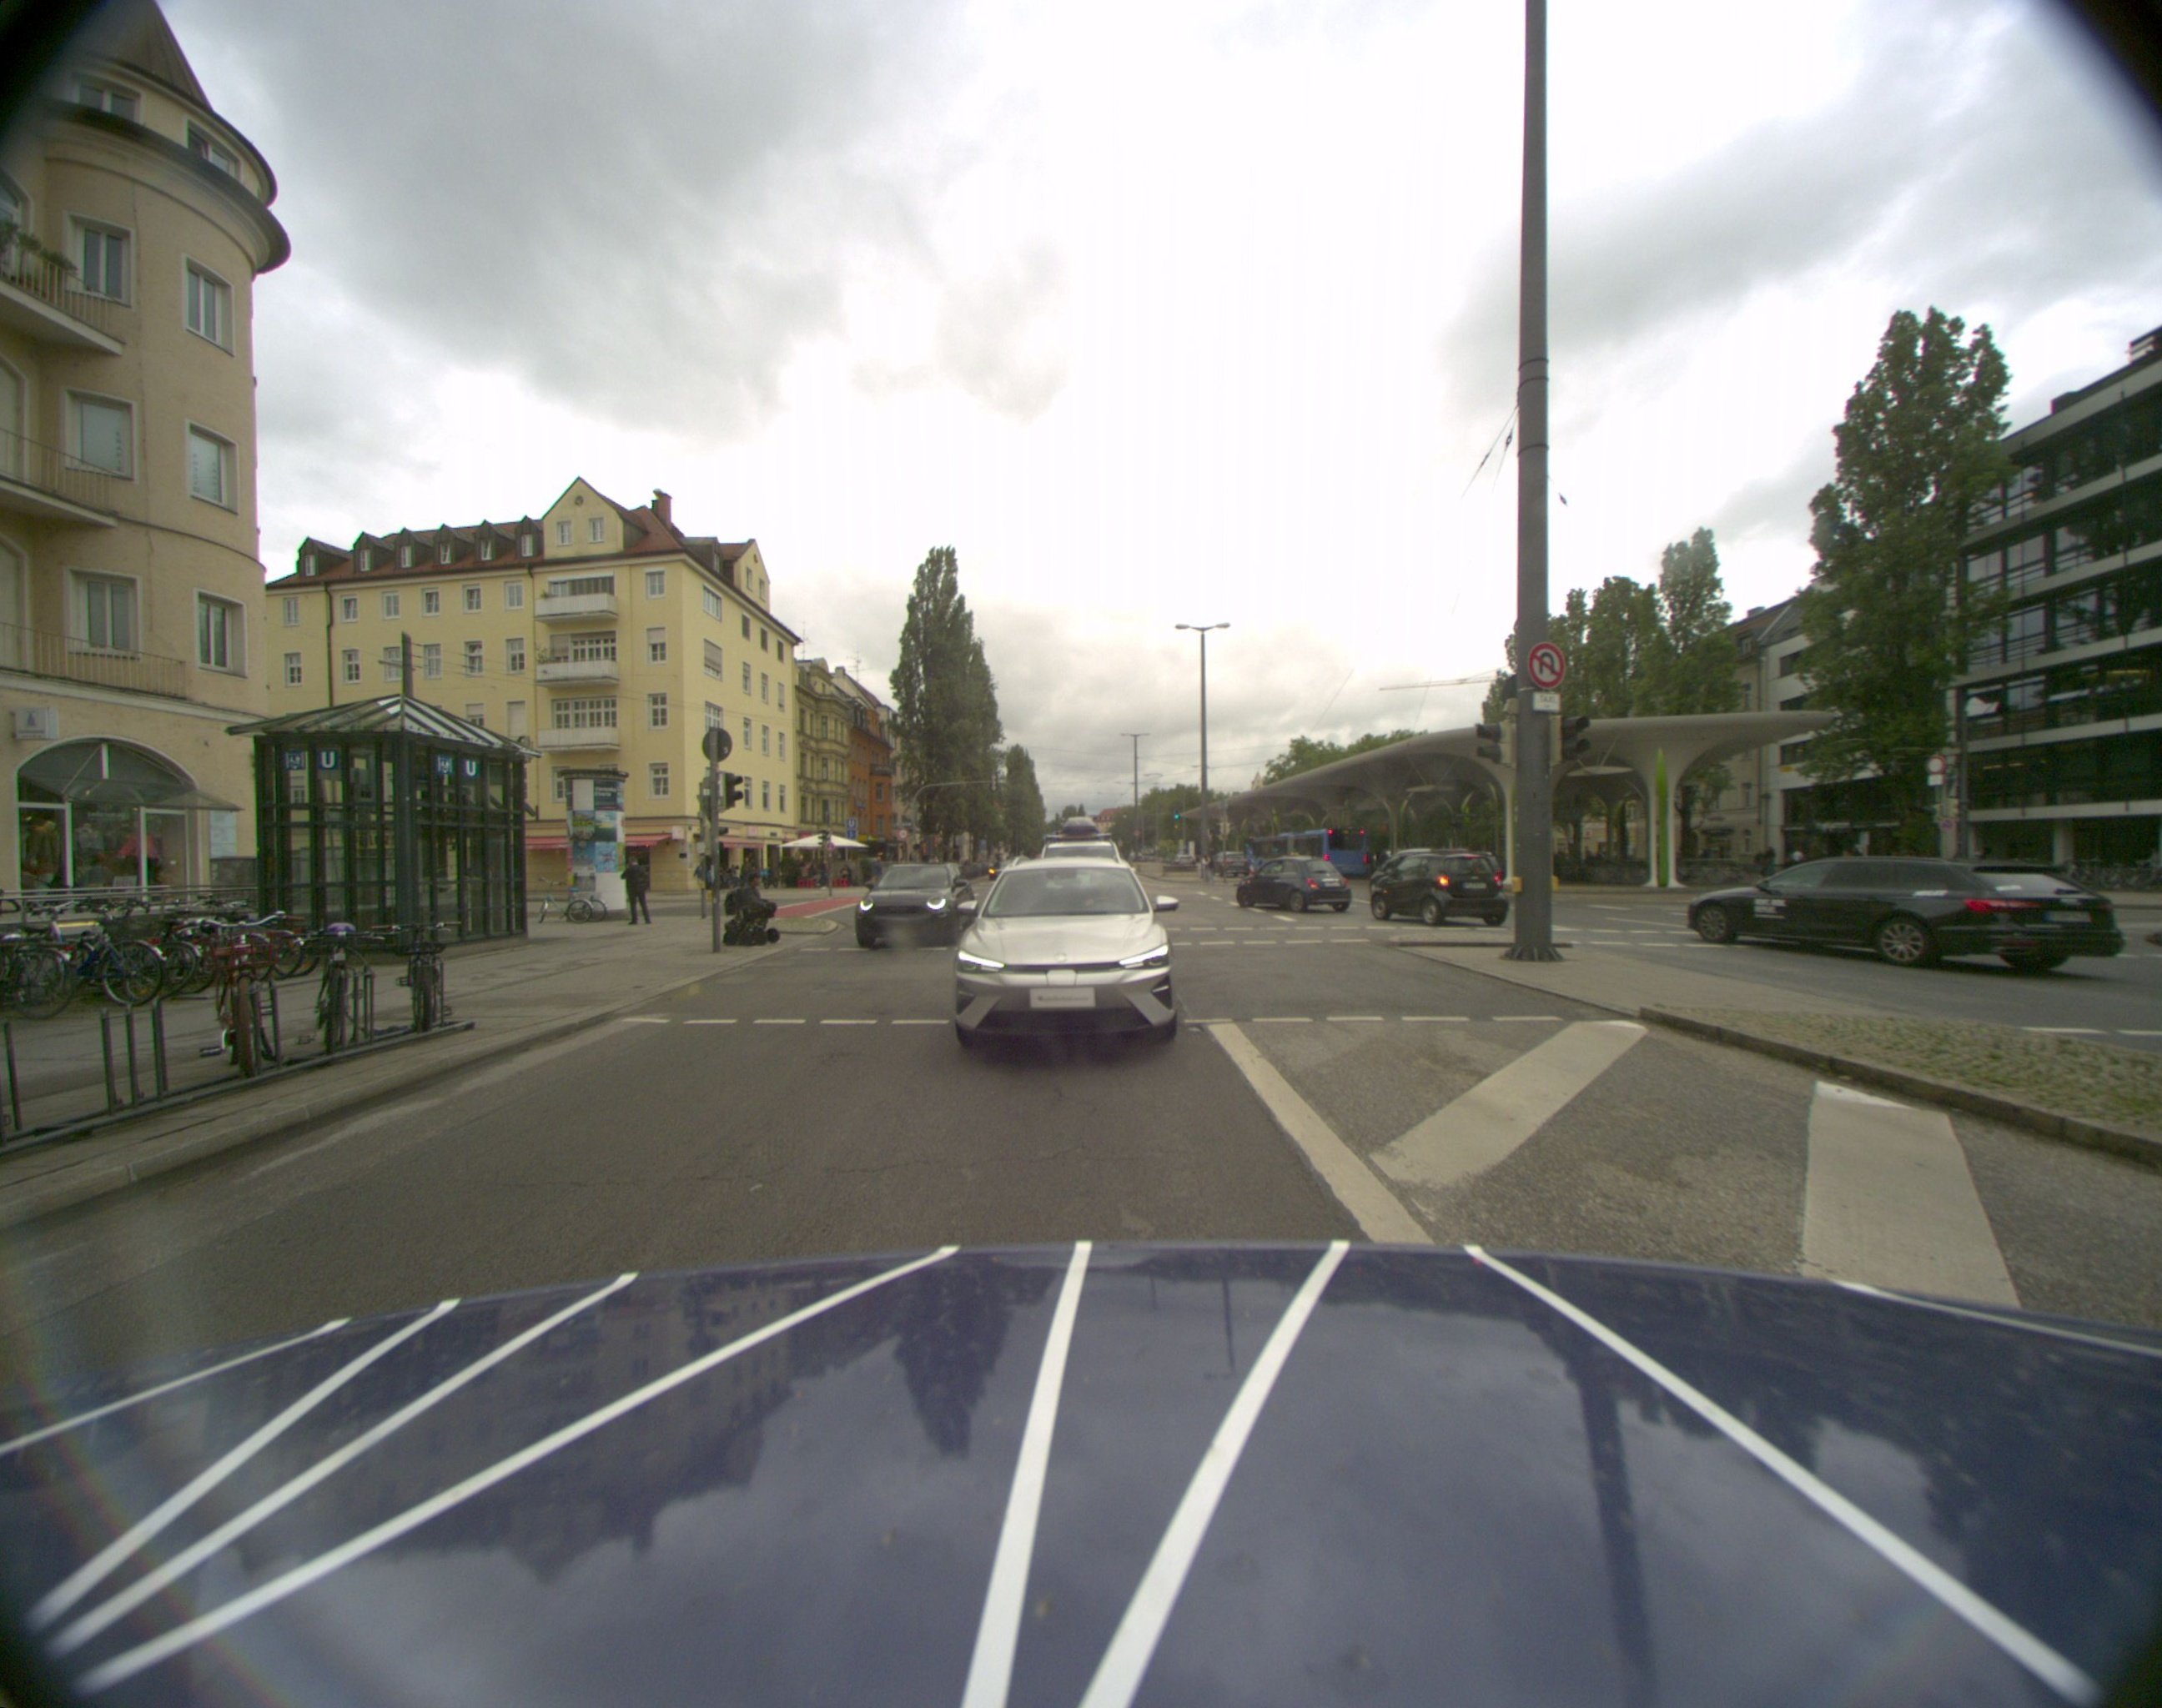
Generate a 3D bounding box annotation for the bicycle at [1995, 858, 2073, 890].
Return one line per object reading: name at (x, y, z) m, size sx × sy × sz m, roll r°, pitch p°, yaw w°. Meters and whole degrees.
bicycle at (34.052, 0.701, 27.183) m, size 0.473 × 1.091 × 1.672 m, roll -1°, pitch 0°, yaw -24°

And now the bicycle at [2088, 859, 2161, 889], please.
bicycle at (40.748, 0.780, 29.622) m, size 2.073 × 1.127 × 0.561 m, roll -1°, pitch 1°, yaw 5°

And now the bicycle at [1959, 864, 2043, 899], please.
bicycle at (30.164, 0.880, 24.942) m, size 0.473 × 1.091 × 1.672 m, roll -1°, pitch 0°, yaw -24°

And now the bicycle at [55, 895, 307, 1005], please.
bicycle at (-10.673, 1.129, 9.048) m, size 2.317 × 1.220 × 0.628 m, roll -1°, pitch 1°, yaw 2°

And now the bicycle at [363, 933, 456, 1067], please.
bicycle at (-6.173, 1.268, 6.952) m, size 1.848 × 1.053 × 0.398 m, roll -5°, pitch -1°, yaw 42°

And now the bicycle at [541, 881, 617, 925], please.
bicycle at (-13.388, 1.299, 20.271) m, size 1.822 × 1.121 × 0.610 m, roll -1°, pitch -1°, yaw 12°

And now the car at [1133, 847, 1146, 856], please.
car at (10.059, -0.431, 130.929) m, size 1.848 × 1.529 × 3.999 m, roll -2°, pitch 1°, yaw 0°

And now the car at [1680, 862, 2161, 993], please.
car at (11.345, 0.848, 10.857) m, size 1.998 × 1.408 × 4.615 m, roll -1°, pitch 0°, yaw 1°

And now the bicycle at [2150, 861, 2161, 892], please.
bicycle at (40.582, 0.810, 27.758) m, size 2.073 × 1.127 × 0.561 m, roll -1°, pitch 1°, yaw 5°

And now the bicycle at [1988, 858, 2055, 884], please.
bicycle at (40.882, 0.731, 33.037) m, size 2.073 × 1.127 × 0.561 m, roll -1°, pitch 1°, yaw 5°

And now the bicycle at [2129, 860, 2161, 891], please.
bicycle at (40.655, 0.800, 28.371) m, size 2.073 × 1.127 × 0.561 m, roll -1°, pitch 1°, yaw 5°

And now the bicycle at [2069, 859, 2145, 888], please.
bicycle at (40.784, 0.771, 30.227) m, size 2.073 × 1.127 × 0.561 m, roll -1°, pitch 1°, yaw 5°

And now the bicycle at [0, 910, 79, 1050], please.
bicycle at (-10.864, 1.161, 7.071) m, size 2.317 × 1.220 × 0.628 m, roll -1°, pitch 1°, yaw 2°

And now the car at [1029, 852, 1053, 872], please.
car at (-3.796, 0.744, 73.050) m, size 1.998 × 1.740 × 3.999 m, roll -2°, pitch 1°, yaw 0°

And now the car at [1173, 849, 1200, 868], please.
car at (9.501, 0.384, 68.706) m, size 1.848 × 1.529 × 3.999 m, roll -2°, pitch 1°, yaw 0°

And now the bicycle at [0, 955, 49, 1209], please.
bicycle at (-6.064, 1.186, 4.101) m, size 1.780 × 1.131 × 0.479 m, roll -2°, pitch 1°, yaw 34°

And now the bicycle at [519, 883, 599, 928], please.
bicycle at (-13.477, 1.311, 19.622) m, size 1.822 × 1.121 × 0.610 m, roll -1°, pitch -1°, yaw 12°

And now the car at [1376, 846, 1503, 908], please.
car at (11.192, 0.651, 24.090) m, size 1.998 × 1.762 × 4.306 m, roll 1°, pitch 1°, yaw 1°

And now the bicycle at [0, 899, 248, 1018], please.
bicycle at (-10.675, 1.137, 8.384) m, size 2.317 × 1.220 × 0.628 m, roll -1°, pitch 1°, yaw 2°

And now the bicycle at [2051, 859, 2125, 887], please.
bicycle at (40.841, 0.761, 30.839) m, size 2.073 × 1.127 × 0.561 m, roll -1°, pitch 1°, yaw 5°

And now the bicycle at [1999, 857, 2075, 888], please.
bicycle at (34.843, 0.664, 27.712) m, size 0.474 × 1.091 × 1.671 m, roll -1°, pitch 0°, yaw -34°

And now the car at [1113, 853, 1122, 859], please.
car at (8.470, 0.466, 177.110) m, size 1.848 × 1.529 × 4.000 m, roll -1°, pitch 0°, yaw 0°

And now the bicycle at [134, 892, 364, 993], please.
bicycle at (-10.655, 1.119, 9.766) m, size 2.317 × 1.220 × 0.628 m, roll -1°, pitch 1°, yaw 2°

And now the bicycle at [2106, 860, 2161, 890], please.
bicycle at (40.707, 0.789, 29.039) m, size 2.073 × 1.127 × 0.561 m, roll -1°, pitch 1°, yaw 5°

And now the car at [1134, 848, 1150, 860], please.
car at (8.549, -0.065, 106.792) m, size 1.848 × 1.529 × 3.999 m, roll -2°, pitch 1°, yaw 0°

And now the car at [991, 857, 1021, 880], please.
car at (-5.715, 1.067, 58.477) m, size 1.854 × 1.615 × 3.999 m, roll -2°, pitch 1°, yaw 0°

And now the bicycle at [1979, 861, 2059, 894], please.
bicycle at (32.224, 0.785, 26.125) m, size 0.473 × 1.091 × 1.672 m, roll -1°, pitch 0°, yaw -24°

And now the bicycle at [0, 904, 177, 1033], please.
bicycle at (-10.730, 1.147, 7.751) m, size 2.317 × 1.220 × 0.628 m, roll -1°, pitch 1°, yaw 2°

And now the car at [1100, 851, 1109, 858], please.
car at (5.411, 0.061, 172.183) m, size 1.848 × 1.529 × 3.999 m, roll -2°, pitch 1°, yaw 0°

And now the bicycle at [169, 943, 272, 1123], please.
bicycle at (-6.190, 1.205, 5.499) m, size 1.848 × 1.053 × 0.398 m, roll -5°, pitch -1°, yaw 42°

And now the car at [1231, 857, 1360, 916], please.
car at (5.858, 0.837, 21.082) m, size 1.630 × 1.471 × 3.381 m, roll 0°, pitch 0°, yaw -25°

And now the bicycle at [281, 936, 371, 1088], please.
bicycle at (-6.245, 1.224, 6.253) m, size 1.848 × 1.053 × 0.398 m, roll -5°, pitch -1°, yaw 42°

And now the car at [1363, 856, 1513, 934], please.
car at (7.673, 0.813, 16.559) m, size 1.562 × 1.498 × 2.785 m, roll -1°, pitch 1°, yaw -13°

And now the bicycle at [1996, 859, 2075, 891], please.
bicycle at (33.517, 0.728, 26.707) m, size 0.473 × 1.091 × 1.672 m, roll -1°, pitch 0°, yaw -24°

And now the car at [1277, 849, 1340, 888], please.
car at (10.717, 0.623, 36.043) m, size 1.760 × 1.674 × 3.999 m, roll -2°, pitch 1°, yaw 1°

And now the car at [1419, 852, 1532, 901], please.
car at (13.931, 0.741, 27.120) m, size 1.932 × 1.576 × 4.000 m, roll -1°, pitch 0°, yaw 0°

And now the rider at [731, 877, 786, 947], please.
rider at (-6.041, 1.071, 14.279) m, size 0.732 × 1.234 × 0.732 m, roll 1°, pitch 1°, yaw -3°

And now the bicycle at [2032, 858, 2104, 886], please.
bicycle at (40.862, 0.752, 31.459) m, size 2.073 × 1.127 × 0.561 m, roll -1°, pitch 1°, yaw 5°

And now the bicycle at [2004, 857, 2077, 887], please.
bicycle at (35.890, 0.660, 28.445) m, size 0.474 × 1.091 × 1.671 m, roll -1°, pitch 0°, yaw -34°
